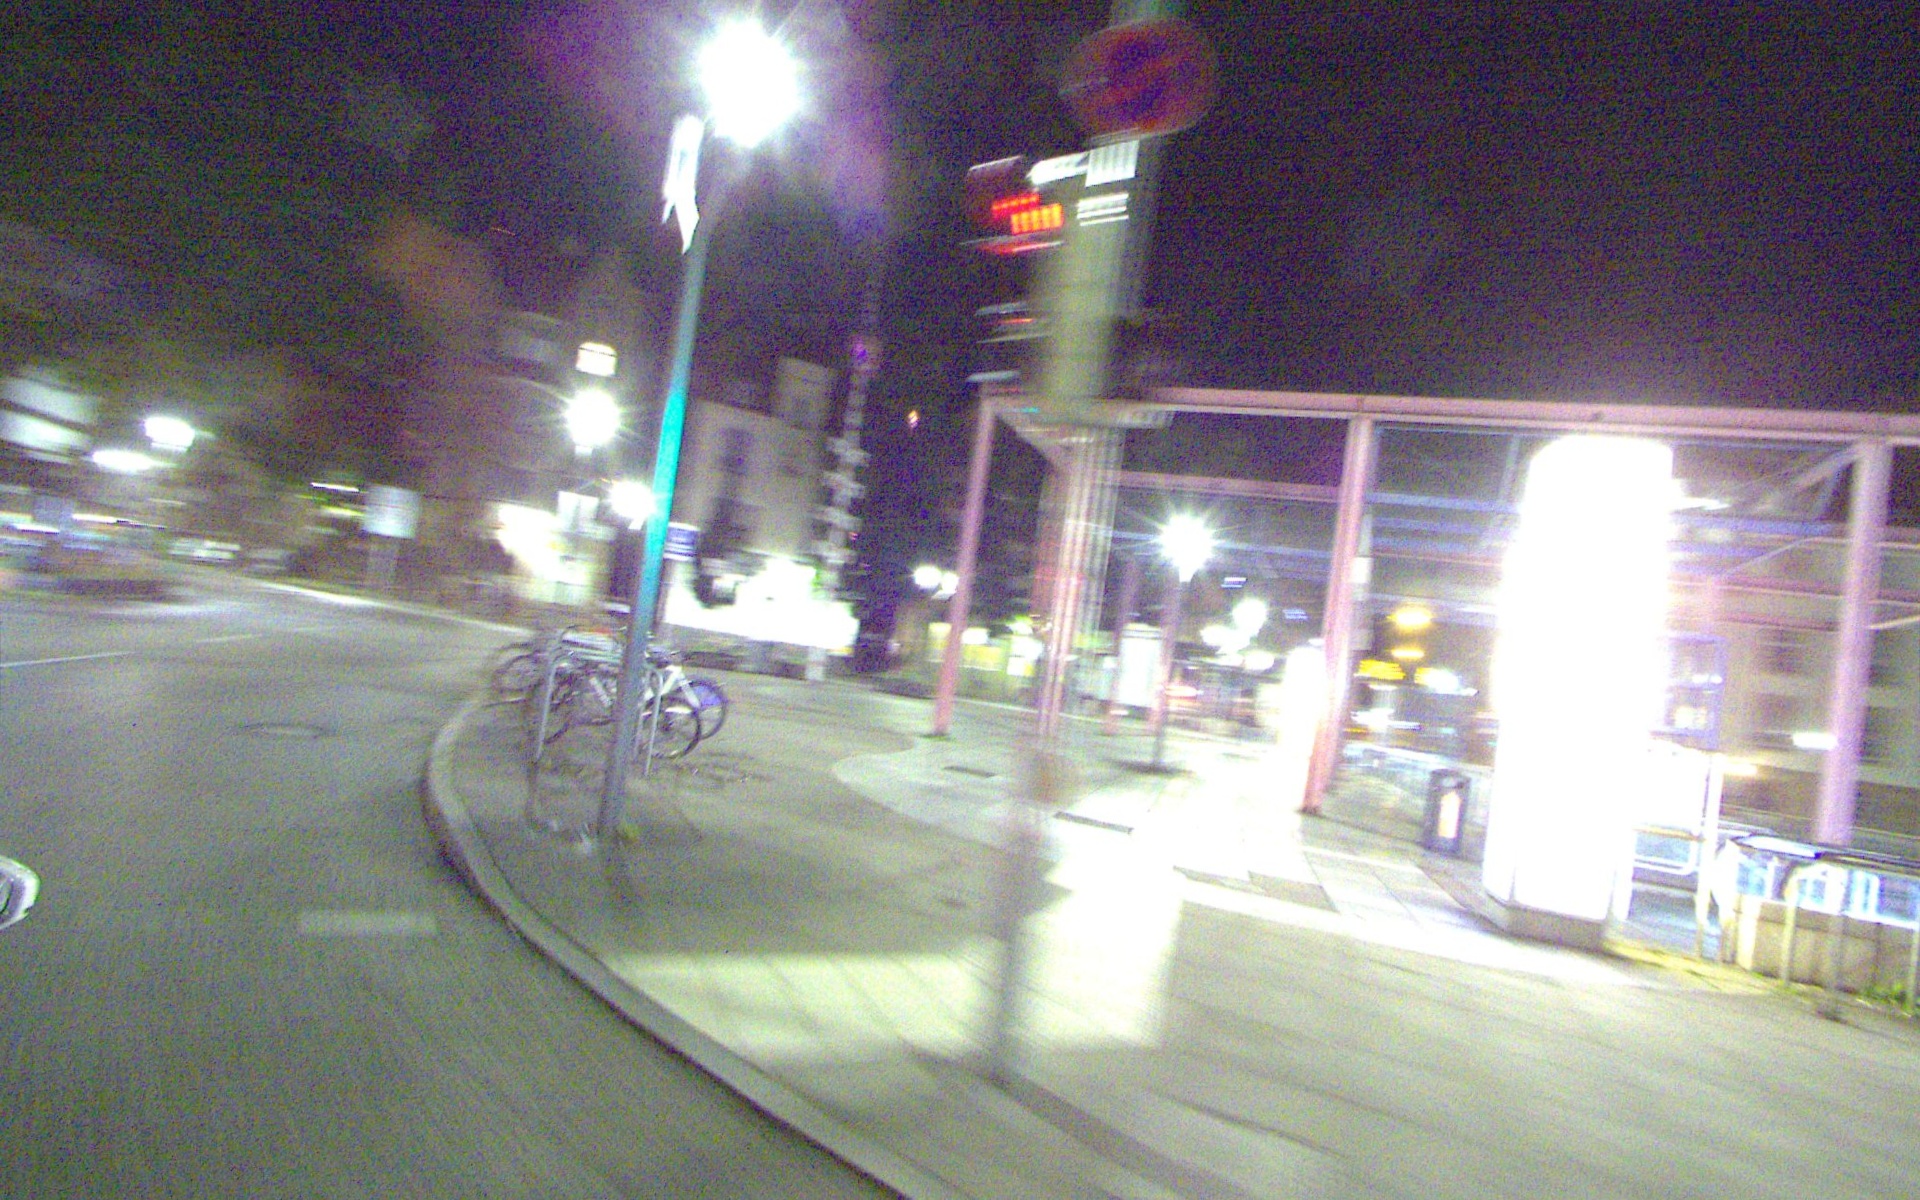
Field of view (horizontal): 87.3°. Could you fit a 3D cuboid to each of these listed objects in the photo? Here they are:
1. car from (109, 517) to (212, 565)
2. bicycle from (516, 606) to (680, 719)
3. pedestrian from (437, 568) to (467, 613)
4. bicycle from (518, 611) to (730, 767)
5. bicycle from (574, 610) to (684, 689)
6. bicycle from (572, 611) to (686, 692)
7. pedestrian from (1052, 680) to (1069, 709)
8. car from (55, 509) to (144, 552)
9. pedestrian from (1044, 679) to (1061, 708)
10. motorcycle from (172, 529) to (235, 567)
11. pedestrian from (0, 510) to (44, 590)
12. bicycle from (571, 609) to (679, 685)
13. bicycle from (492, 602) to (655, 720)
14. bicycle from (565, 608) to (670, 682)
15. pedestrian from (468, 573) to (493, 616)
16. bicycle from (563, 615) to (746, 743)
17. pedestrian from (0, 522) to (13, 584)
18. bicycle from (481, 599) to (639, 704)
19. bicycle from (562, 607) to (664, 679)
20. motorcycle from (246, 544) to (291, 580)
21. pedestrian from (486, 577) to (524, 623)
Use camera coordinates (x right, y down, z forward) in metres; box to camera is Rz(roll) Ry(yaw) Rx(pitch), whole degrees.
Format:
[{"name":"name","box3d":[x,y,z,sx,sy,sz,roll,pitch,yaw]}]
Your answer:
[{"name":"car","box3d":[-37.846,-2.784,47.618,4.385,1.517,1.740,8,-3,22]},{"name":"bicycle","box3d":[-4.608,0.805,12.838,1.774,1.146,0.626,11,-3,-26]},{"name":"pedestrian","box3d":[-20.762,-0.381,41.108,0.692,1.728,0.509,8,-2,24]},{"name":"bicycle","box3d":[-3.121,0.822,9.344,1.641,1.153,0.823,10,-3,-24]},{"name":"bicycle","box3d":[-6.080,0.915,18.533,1.753,1.163,0.580,10,-2,-19]},{"name":"bicycle","box3d":[-5.882,0.917,17.917,1.754,1.163,0.580,10,-2,-19]},{"name":"pedestrian","box3d":[4.932,4.639,49.185,0.460,1.313,0.513,10,-2,-20]},{"name":"car","box3d":[-42.430,-3.439,49.598,3.928,1.470,1.743,8,-3,25]},{"name":"pedestrian","box3d":[4.494,4.561,49.023,0.460,1.313,0.513,10,-2,-20]},{"name":"motorcycle","box3d":[-35.172,-2.393,46.812,0.907,1.422,2.062,9,-1,14]},{"name":"pedestrian","box3d":[-17.789,-0.942,18.819,0.671,1.393,0.573,10,-2,-27]},{"name":"bicycle","box3d":[-6.369,0.904,19.169,1.757,1.163,0.579,11,-3,-25]},{"name":"bicycle","box3d":[-4.616,0.730,12.058,1.640,1.146,0.639,10,-3,-24]},{"name":"bicycle","box3d":[-6.744,0.889,19.813,1.757,1.163,0.610,11,-3,-25]},{"name":"pedestrian","box3d":[-20.352,-0.241,42.681,0.560,1.728,0.478,8,-2,24]},{"name":"bicycle","box3d":[-3.434,0.892,11.323,1.754,1.153,0.683,10,-3,-24]},{"name":"pedestrian","box3d":[-18.646,-0.934,19.169,0.570,1.176,0.674,10,-2,-27]},{"name":"bicycle","box3d":[-5.555,0.718,13.996,1.849,1.146,0.721,11,-3,-26]},{"name":"bicycle","box3d":[-7.081,0.879,20.527,1.768,1.163,0.755,11,-3,-25]},{"name":"motorcycle","box3d":[-30.573,-1.651,44.523,0.751,1.368,1.941,9,-2,-12]},{"name":"pedestrian","box3d":[-18.411,0.009,40.721,0.949,1.648,0.810,9,-3,0]}]
